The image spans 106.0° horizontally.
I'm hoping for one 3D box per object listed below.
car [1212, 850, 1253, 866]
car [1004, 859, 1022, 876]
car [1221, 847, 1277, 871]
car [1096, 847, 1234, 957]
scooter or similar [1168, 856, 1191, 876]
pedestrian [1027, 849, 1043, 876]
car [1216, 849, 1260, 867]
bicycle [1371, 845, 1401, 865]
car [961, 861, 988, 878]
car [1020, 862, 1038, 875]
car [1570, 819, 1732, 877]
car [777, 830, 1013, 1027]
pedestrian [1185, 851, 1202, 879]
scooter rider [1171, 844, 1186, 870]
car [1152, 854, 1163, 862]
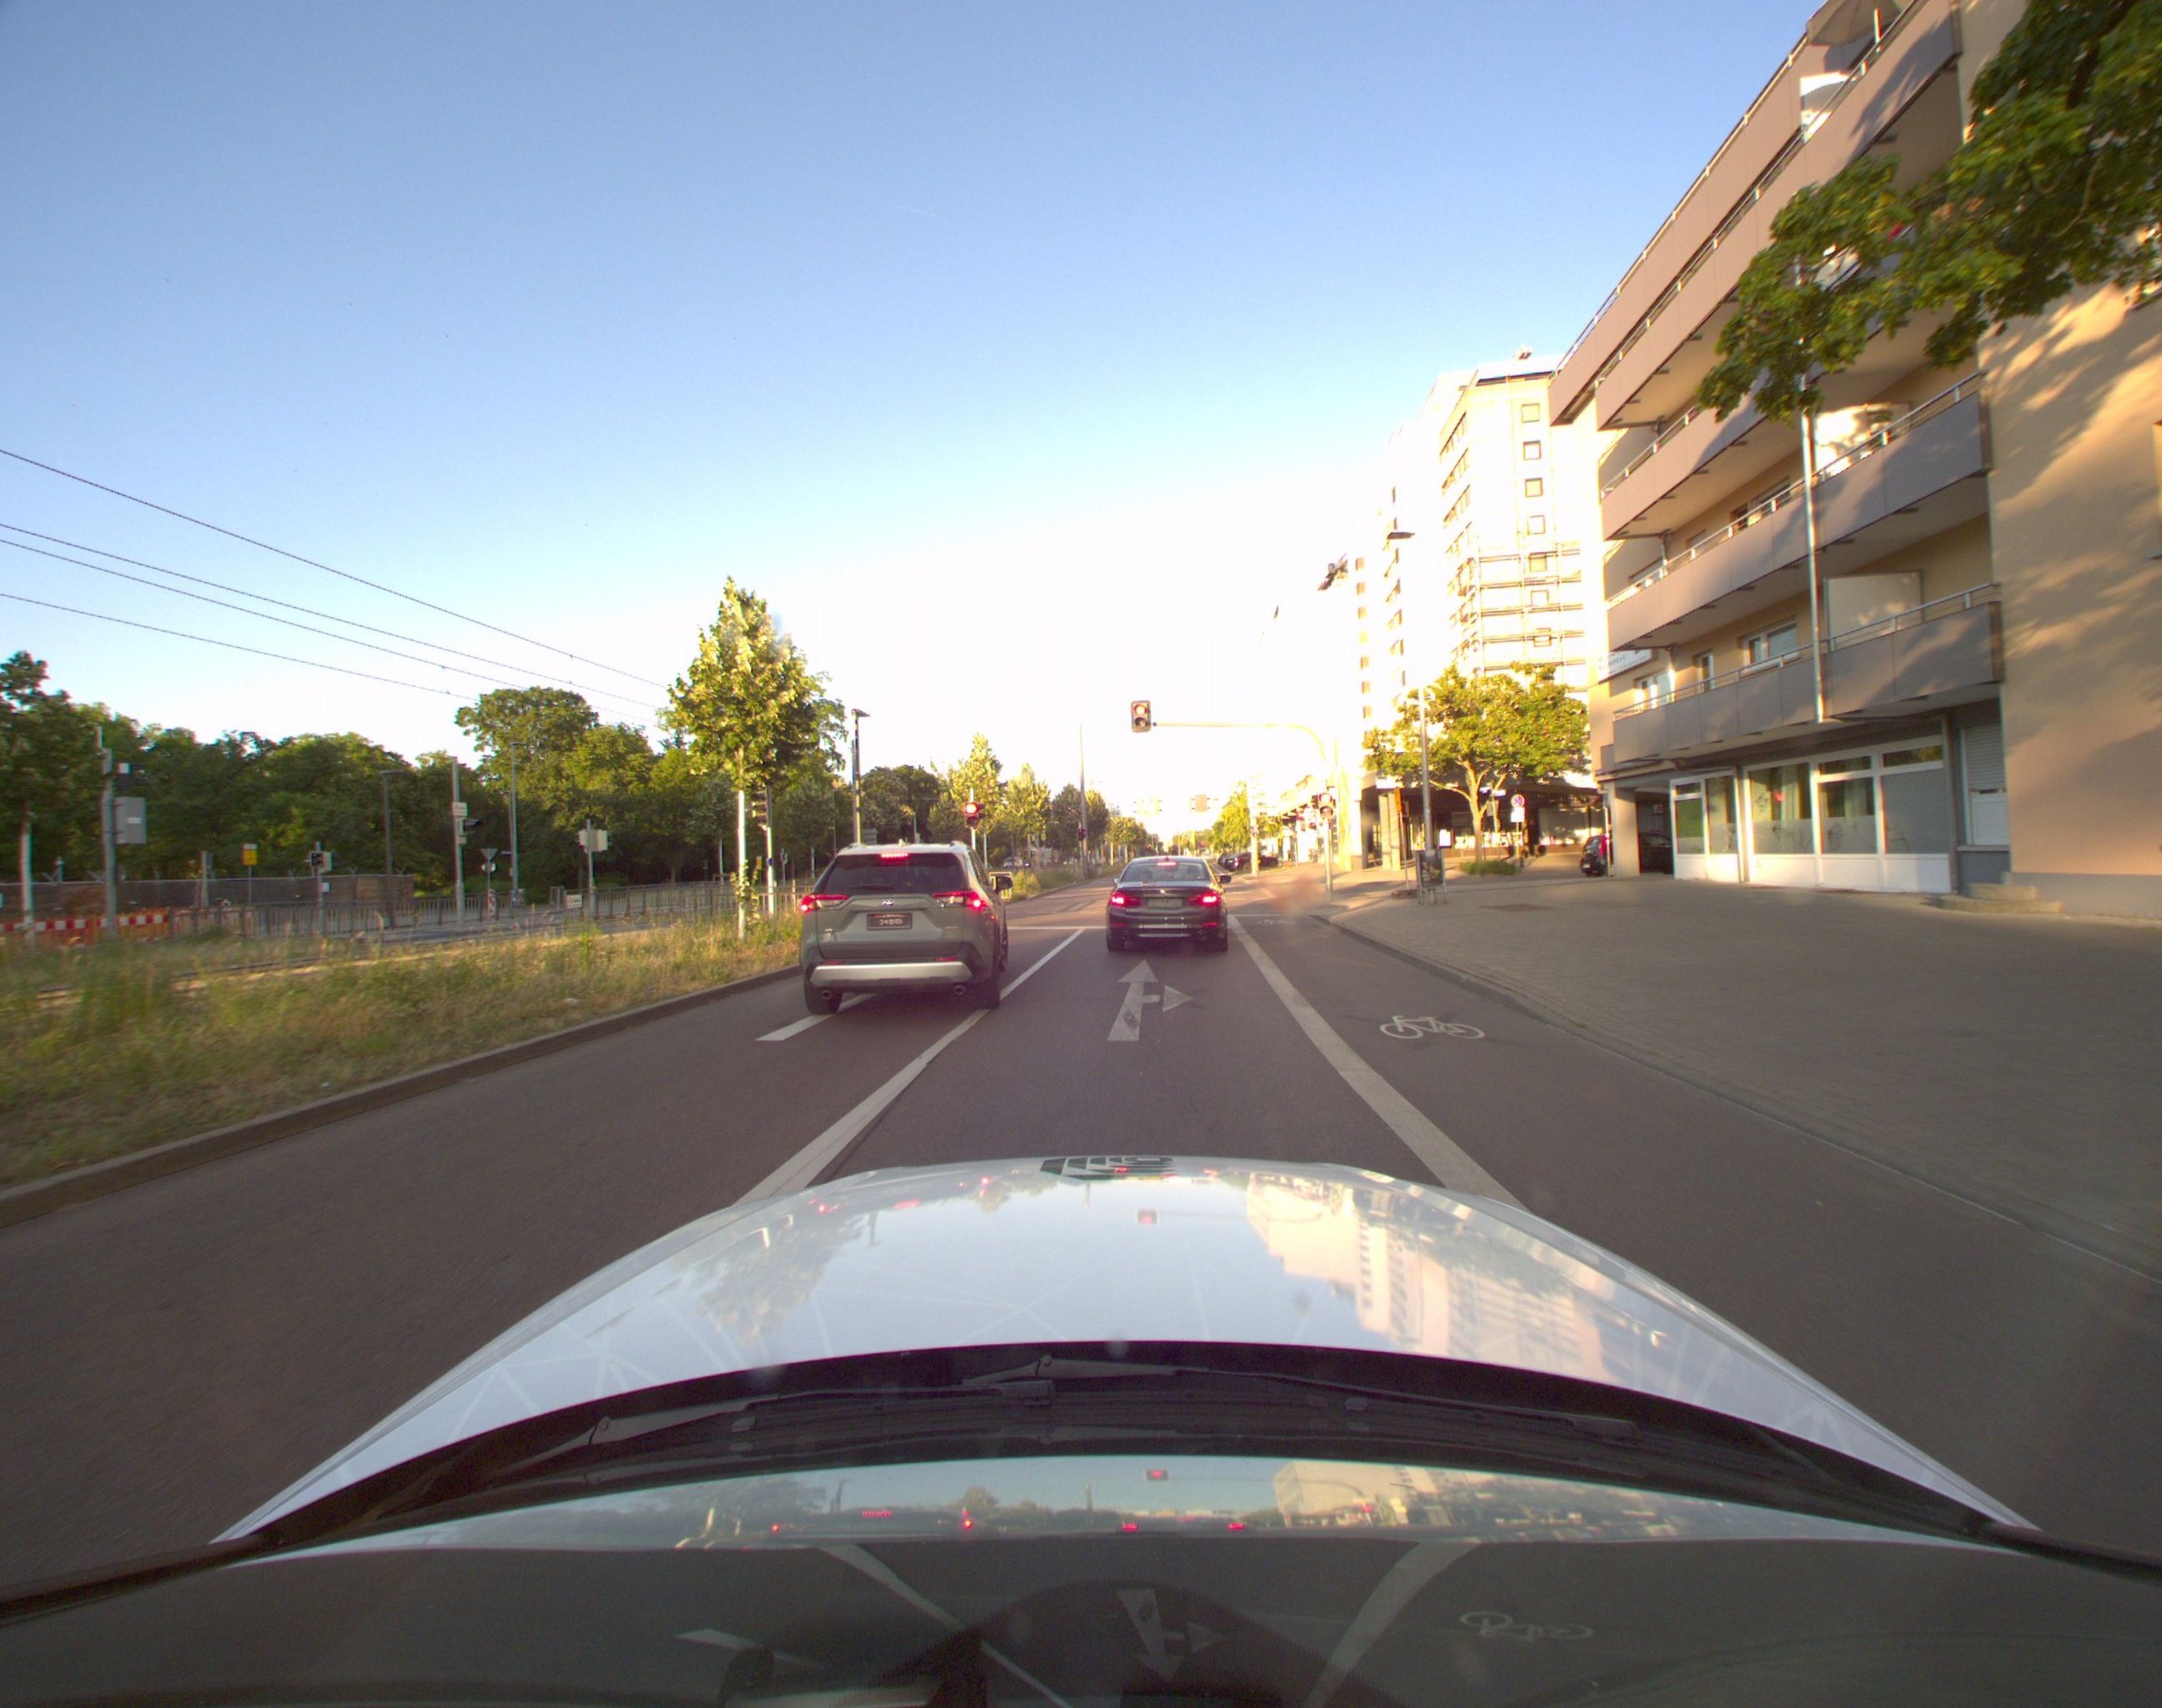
[{"bbox_3d":[17.021,0.430,91.426,4.280,1.658,1.843,-2,1,-29],"label":"car"},{"bbox_3d":[-9.130,1.803,109.425,1.987,2.168,4.751,-1,1,1],"label":"car"},{"bbox_3d":[13.005,0.360,63.093,4.288,1.658,1.840,-2,1,-37],"label":"car"},{"bbox_3d":[1.489,0.675,13.811,1.921,1.481,4.532,-1,1,8],"label":"car"},{"bbox_3d":[5.960,0.708,49.144,1.322,1.153,0.514,-3,-1,6],"label":"scooter or similar"},{"bbox_3d":[-3.006,0.564,53.255,0.831,1.712,0.648,-3,-1,5],"label":"pedestrian"},{"bbox_3d":[16.460,0.400,85.276,4.281,1.658,1.843,-2,1,-30],"label":"car"},{"bbox_3d":[17.690,0.078,47.291,0.689,1.149,2.014,1,-1,-12],"label":"bicycle"},{"bbox_3d":[-12.233,1.738,93.872,1.984,1.744,4.758,-1,1,5],"label":"car"},{"bbox_3d":[-7.825,2.191,122.152,1.984,1.744,4.758,-1,1,5],"label":"car"},{"bbox_3d":[19.028,-0.162,27.365,4.015,1.585,1.710,-4,-4,10],"label":"car"},{"bbox_3d":[-1.783,0.603,9.204,1.850,1.658,4.264,-1,1,-3],"label":"car"},{"bbox_3d":[6.458,0.622,46.775,0.832,1.586,0.812,-3,-1,1],"label":"pedestrian"},{"bbox_3d":[5.866,0.156,49.174,0.816,1.514,0.654,-3,-1,6],"label":"scooter rider"},{"bbox_3d":[14.443,0.730,153.833,1.969,1.433,4.852,-1,1,6],"label":"car"}]
